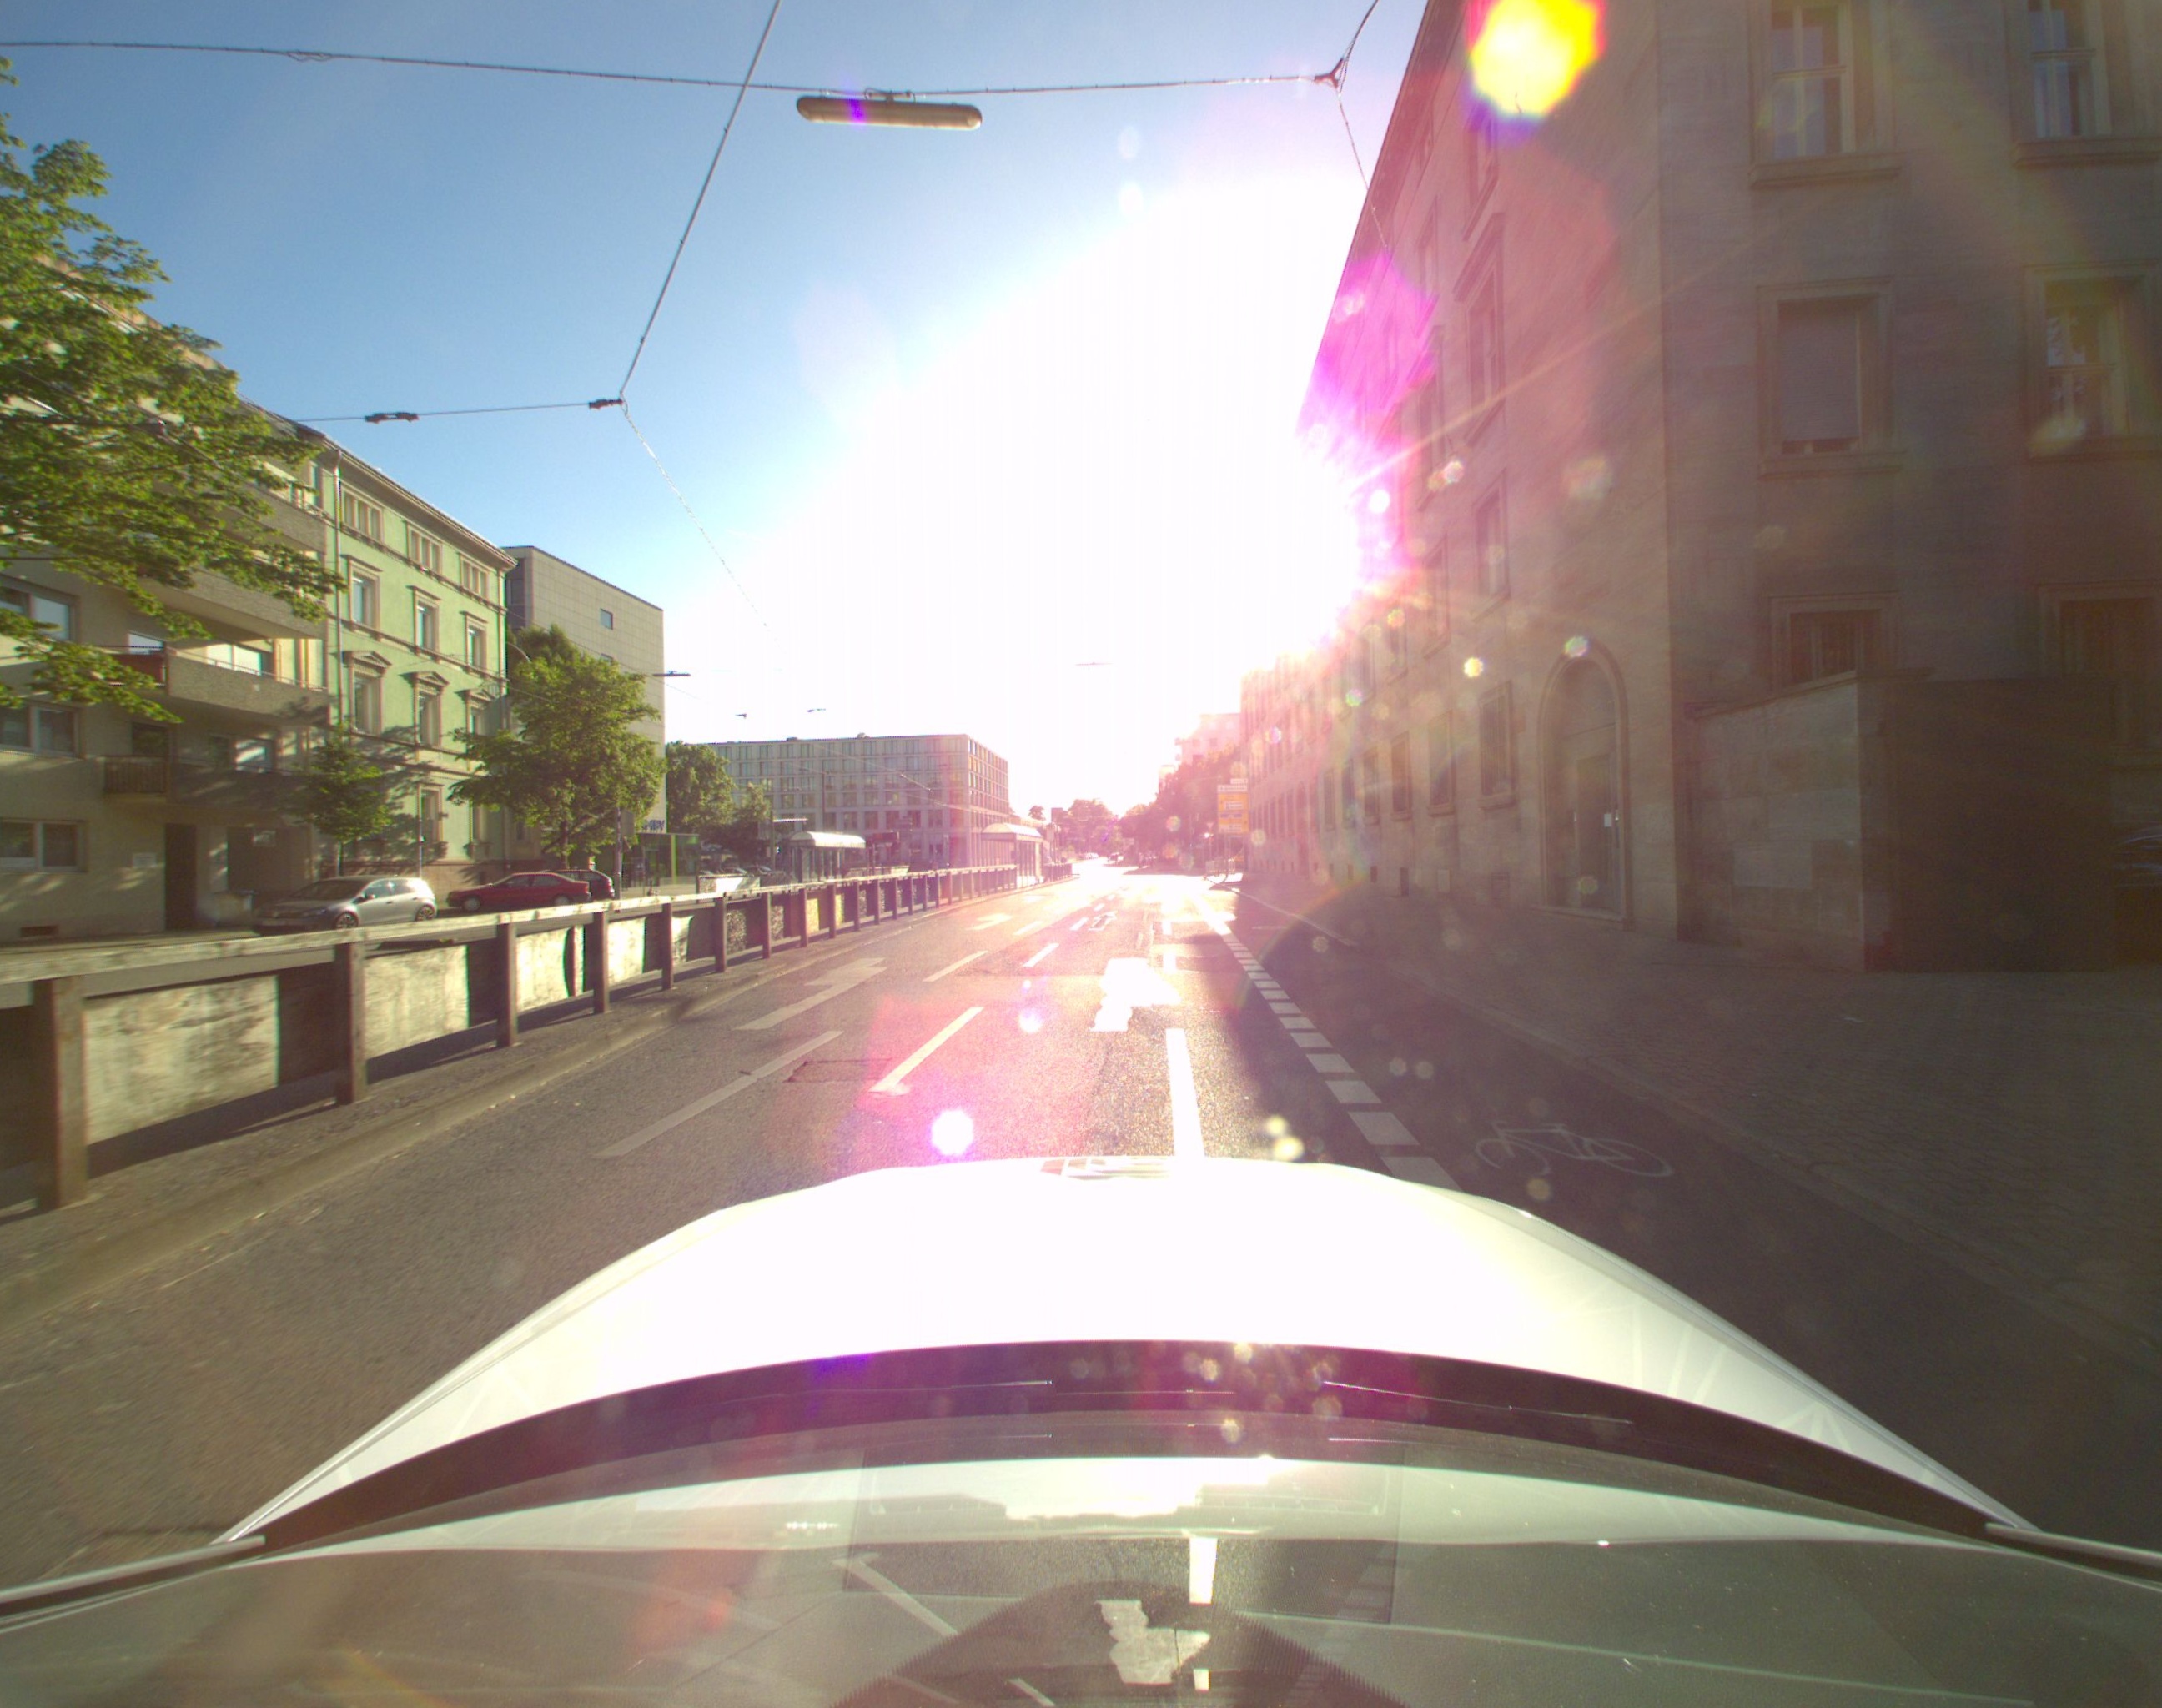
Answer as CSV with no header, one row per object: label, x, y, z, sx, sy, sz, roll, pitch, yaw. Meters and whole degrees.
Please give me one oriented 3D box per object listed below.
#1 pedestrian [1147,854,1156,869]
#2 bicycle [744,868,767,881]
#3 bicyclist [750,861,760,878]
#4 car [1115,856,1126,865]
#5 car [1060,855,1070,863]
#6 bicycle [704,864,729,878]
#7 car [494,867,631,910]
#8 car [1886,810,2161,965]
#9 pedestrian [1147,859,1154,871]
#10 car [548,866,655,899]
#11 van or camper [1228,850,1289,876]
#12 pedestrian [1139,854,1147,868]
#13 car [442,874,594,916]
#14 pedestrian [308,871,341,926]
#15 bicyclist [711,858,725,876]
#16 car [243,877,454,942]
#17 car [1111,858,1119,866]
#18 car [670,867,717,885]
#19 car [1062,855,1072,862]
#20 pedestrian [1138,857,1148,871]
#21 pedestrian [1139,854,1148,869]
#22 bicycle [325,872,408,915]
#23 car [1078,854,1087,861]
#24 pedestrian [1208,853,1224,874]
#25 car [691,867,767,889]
pedestrian,8.773,0.968,101.706,0.848,1.784,0.777,-2,0,-11
bicycle,-30.601,1.907,76.606,1.908,1.122,0.793,-2,0,16
bicyclist,-30.653,1.448,76.627,0.613,1.582,0.597,-2,-1,16
car,6.806,1.066,140.511,1.676,1.501,3.514,0,-1,6
car,-3.728,1.219,190.701,1.810,1.712,3.811,-2,0,5
bicycle,-34.571,1.615,77.224,2.035,1.288,0.889,-2,0,10
car,-21.097,1.359,33.246,4.538,1.642,1.571,1,-2,-40
car,12.564,0.273,9.351,4.600,1.532,1.951,-2,1,3
pedestrian,8.721,1.378,102.476,0.762,1.558,0.585,-2,-1,-11
car,-24.044,1.429,41.032,4.525,1.570,1.576,0,-2,-27
van or camper,20.207,1.028,92.900,6.667,2.862,2.918,0,-1,10
pedestrian,7.850,0.872,103.247,0.848,1.784,0.777,-2,0,-11
car,-20.929,1.471,30.403,4.535,1.426,1.852,1,-2,-37
pedestrian,-23.235,1.360,25.012,0.509,1.671,0.490,-2,-1,-2
bicyclist,-34.430,1.234,77.255,0.884,1.695,0.847,-2,0,11
car,-18.655,1.346,21.053,1.702,1.410,4.287,0,0,-3
car,7.583,1.829,181.303,1.676,1.737,3.514,0,-1,6
car,-34.936,2.006,73.445,3.515,1.506,1.524,-1,0,3
car,-3.465,1.175,201.641,1.810,1.712,3.811,-2,0,5
pedestrian,7.628,1.225,100.613,0.966,1.784,0.777,-2,0,-11
pedestrian,7.834,0.937,102.425,0.848,1.784,0.777,-2,0,-11
bicycle,-25.698,1.378,29.368,0.717,1.398,3.001,-1,0,-9
car,0.350,0.973,213.440,1.810,1.712,3.811,-2,0,5
pedestrian,11.205,0.765,67.592,1.038,1.721,1.033,-2,0,-6
car,-23.098,1.549,53.483,4.525,1.350,1.576,0,-2,-27
